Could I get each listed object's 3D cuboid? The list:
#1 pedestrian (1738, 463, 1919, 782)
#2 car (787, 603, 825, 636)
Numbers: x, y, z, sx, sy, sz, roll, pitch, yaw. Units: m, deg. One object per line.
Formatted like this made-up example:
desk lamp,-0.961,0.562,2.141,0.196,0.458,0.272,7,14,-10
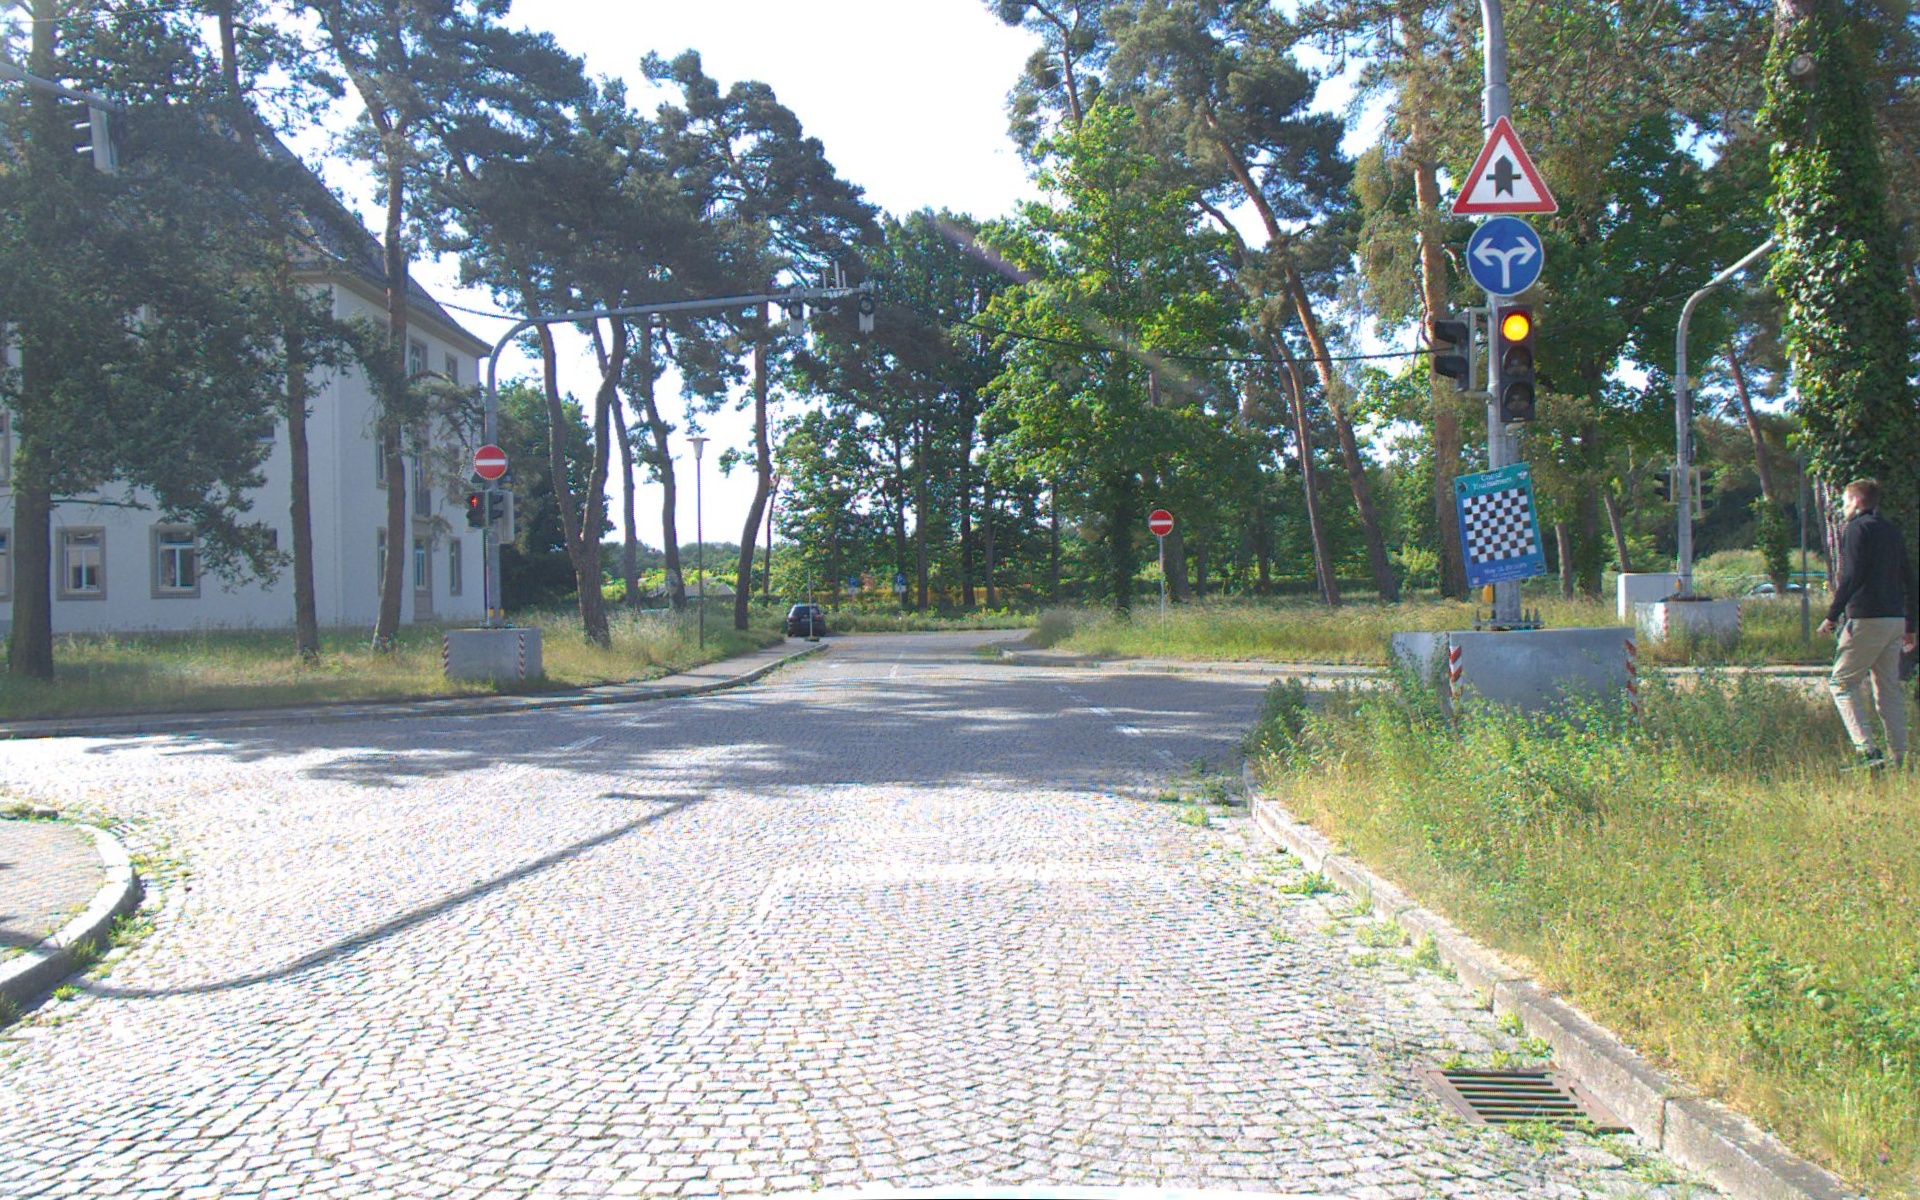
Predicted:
pedestrian,5.651,0.116,10.142,1.148,1.827,1.059,-2,0,-14
car,-7.428,0.932,80.280,1.676,1.522,3.916,-2,0,-4
